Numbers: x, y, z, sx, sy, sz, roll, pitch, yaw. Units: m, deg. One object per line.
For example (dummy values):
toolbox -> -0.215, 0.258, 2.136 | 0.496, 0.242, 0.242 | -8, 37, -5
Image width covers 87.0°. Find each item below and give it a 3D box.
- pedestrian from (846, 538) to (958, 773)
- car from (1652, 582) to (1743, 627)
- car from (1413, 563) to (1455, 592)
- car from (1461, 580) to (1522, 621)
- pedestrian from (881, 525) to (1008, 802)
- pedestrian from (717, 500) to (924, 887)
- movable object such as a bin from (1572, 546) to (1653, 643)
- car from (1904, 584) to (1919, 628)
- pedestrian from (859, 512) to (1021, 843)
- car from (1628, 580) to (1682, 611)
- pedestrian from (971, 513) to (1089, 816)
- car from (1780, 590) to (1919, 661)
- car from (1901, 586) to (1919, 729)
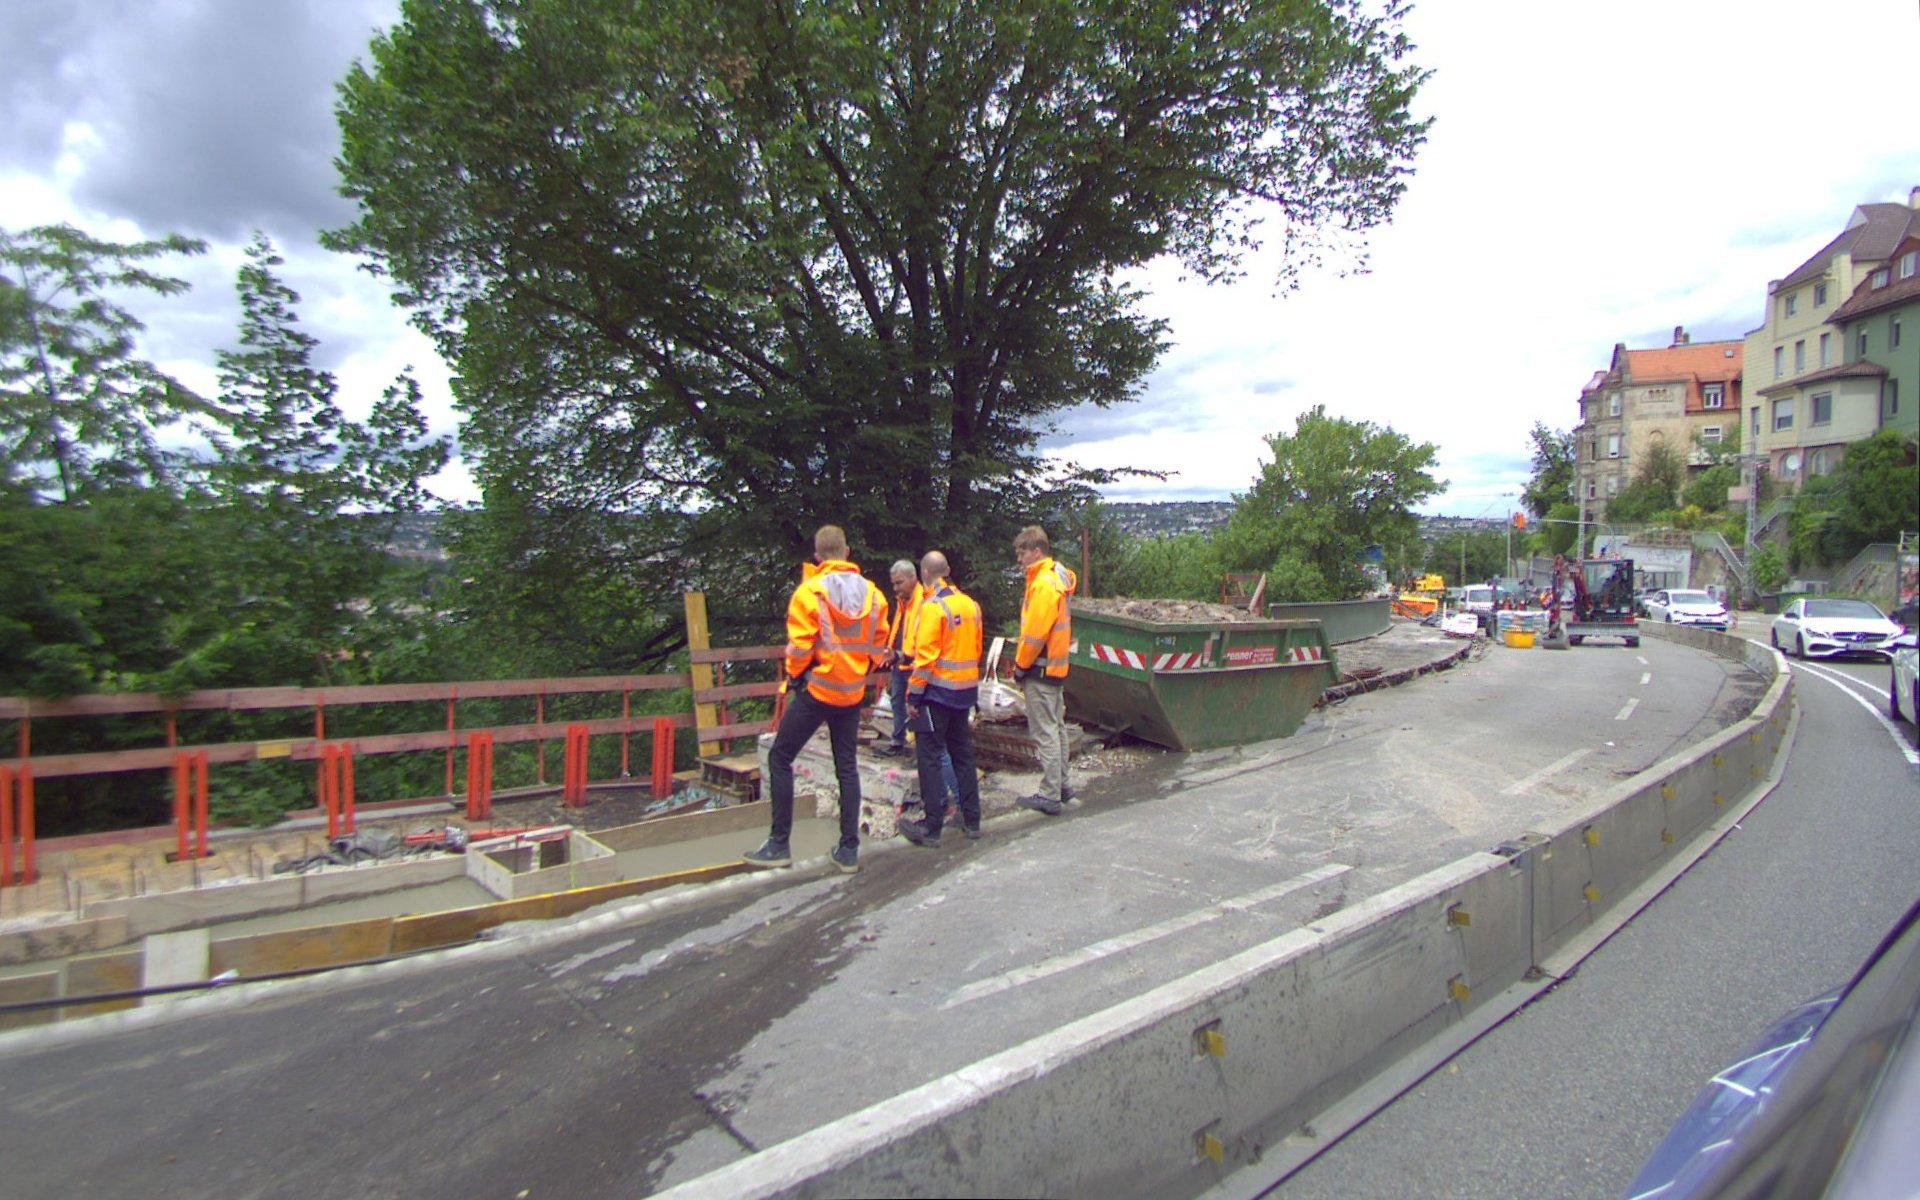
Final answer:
pedestrian -> -0.465, 0.427, 8.254 | 0.640, 1.817, 0.638 | -2, 0, 27
car -> 27.870, 0.148, 38.393 | 1.865, 1.598, 3.970 | 0, 0, 22
car -> 35.897, -1.643, 76.685 | 1.969, 2.128, 4.056 | 0, 0, 11
car -> 22.993, -0.003, 43.938 | 1.771, 1.706, 3.975 | 0, 0, 19
pedestrian -> -0.116, 0.450, 7.493 | 0.726, 1.916, 0.611 | -2, -3, 34
pedestrian -> -0.743, 0.435, 5.429 | 0.638, 1.882, 0.822 | 5, 3, 41
movable object such as a bin -> 18.780, -0.171, 29.204 | 1.851, 2.628, 3.400 | 0, 0, 33
car -> 32.198, 0.156, 32.405 | 1.665, 1.435, 3.760 | -4, -1, 24
pedestrian -> -0.113, 0.424, 6.168 | 0.525, 1.865, 0.785 | 5, 3, 41
car -> 36.009, -0.231, 52.544 | 1.674, 1.527, 3.633 | 0, 0, 24
pedestrian -> 0.493, 0.407, 6.857 | 0.609, 1.908, 0.716 | 3, 0, 12
car -> 20.539, 0.514, 23.391 | 1.784, 1.322, 4.058 | 2, 3, 30
car -> 11.203, 0.597, 10.536 | 1.846, 1.485, 4.807 | 0, 0, 41
